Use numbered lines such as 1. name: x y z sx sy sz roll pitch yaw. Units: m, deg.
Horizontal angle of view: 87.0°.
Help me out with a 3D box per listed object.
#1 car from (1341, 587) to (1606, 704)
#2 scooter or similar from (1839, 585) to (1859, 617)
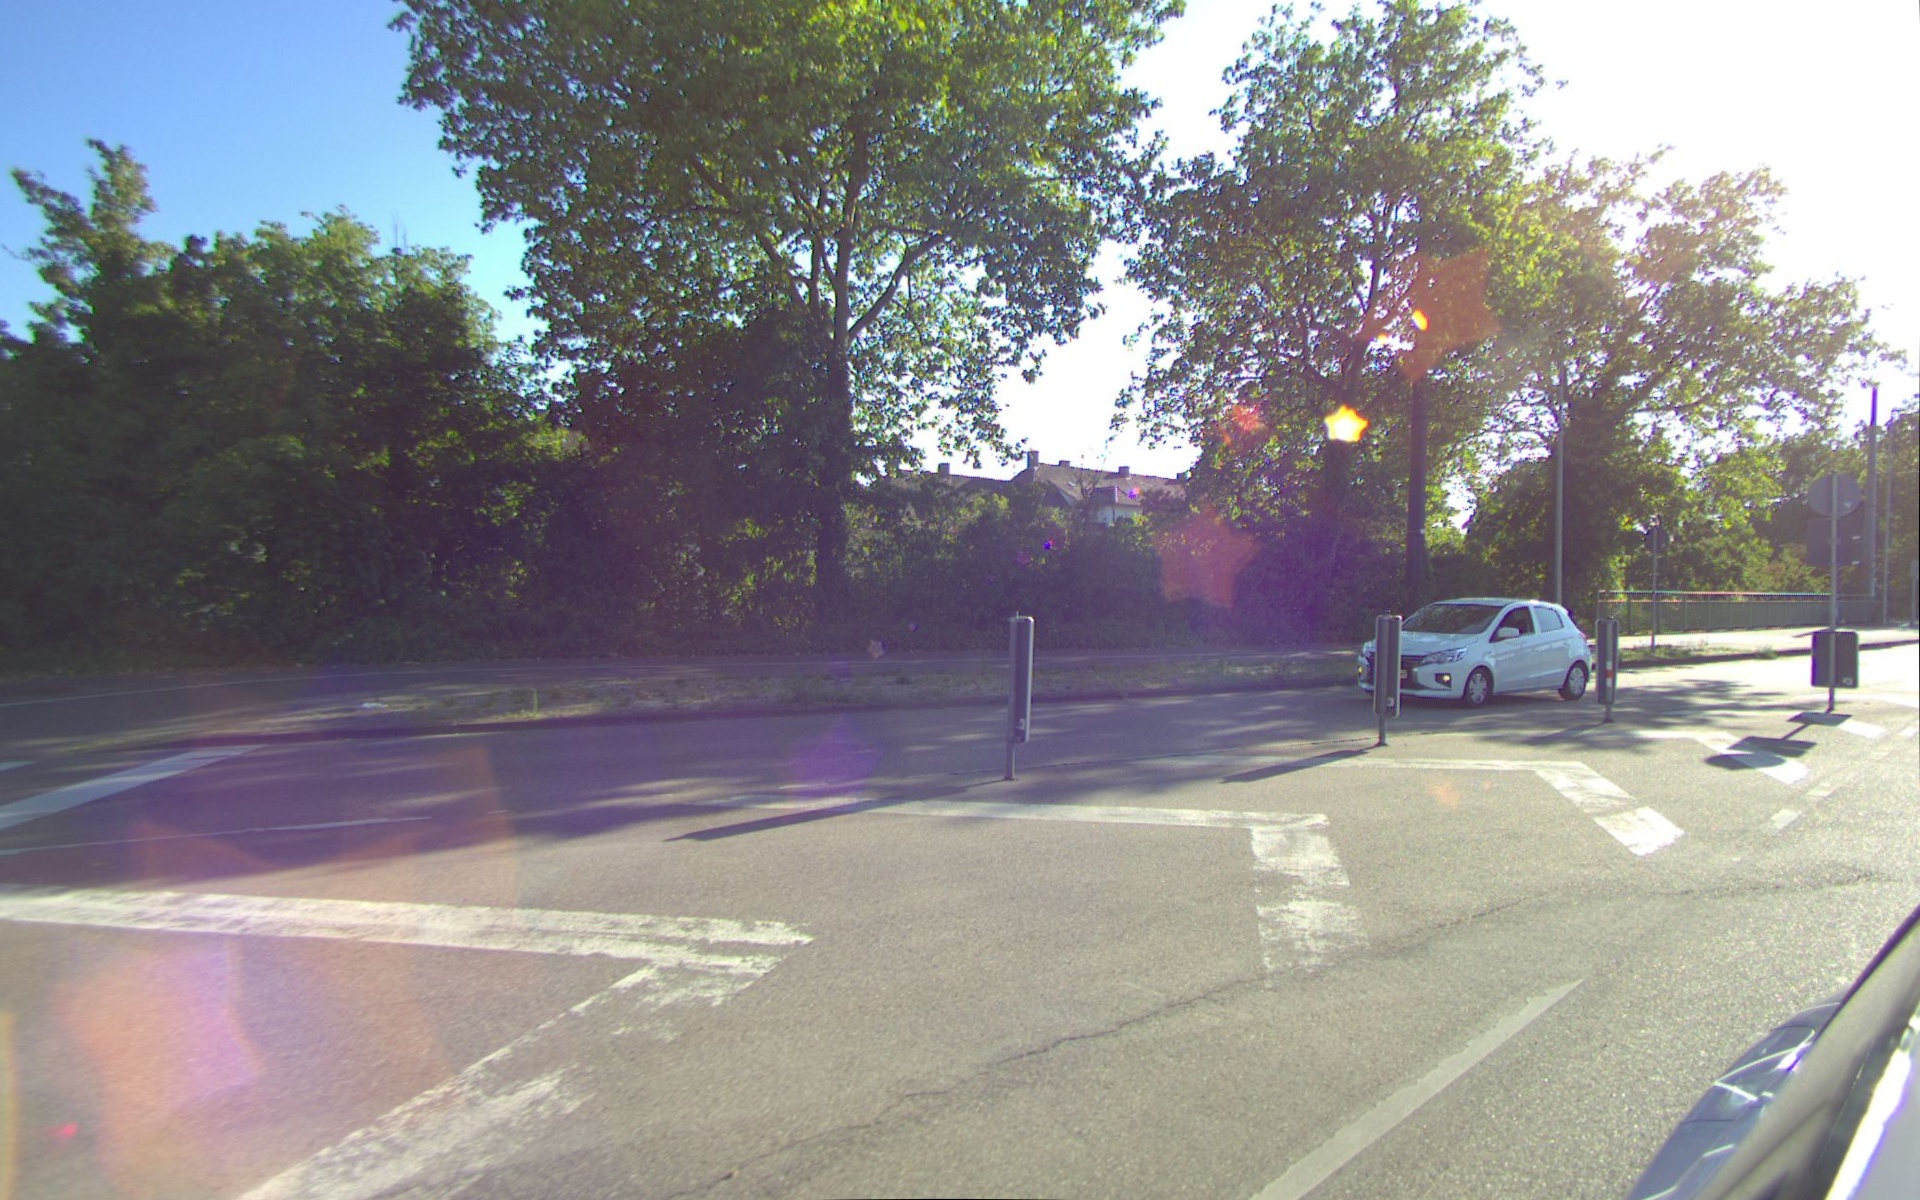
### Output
1. car: 7.450 0.569 14.628 3.669 1.492 1.674 0 1 -30
2. scooter or similar: 37.311 0.044 42.460 1.063 1.290 0.427 0 1 -39
